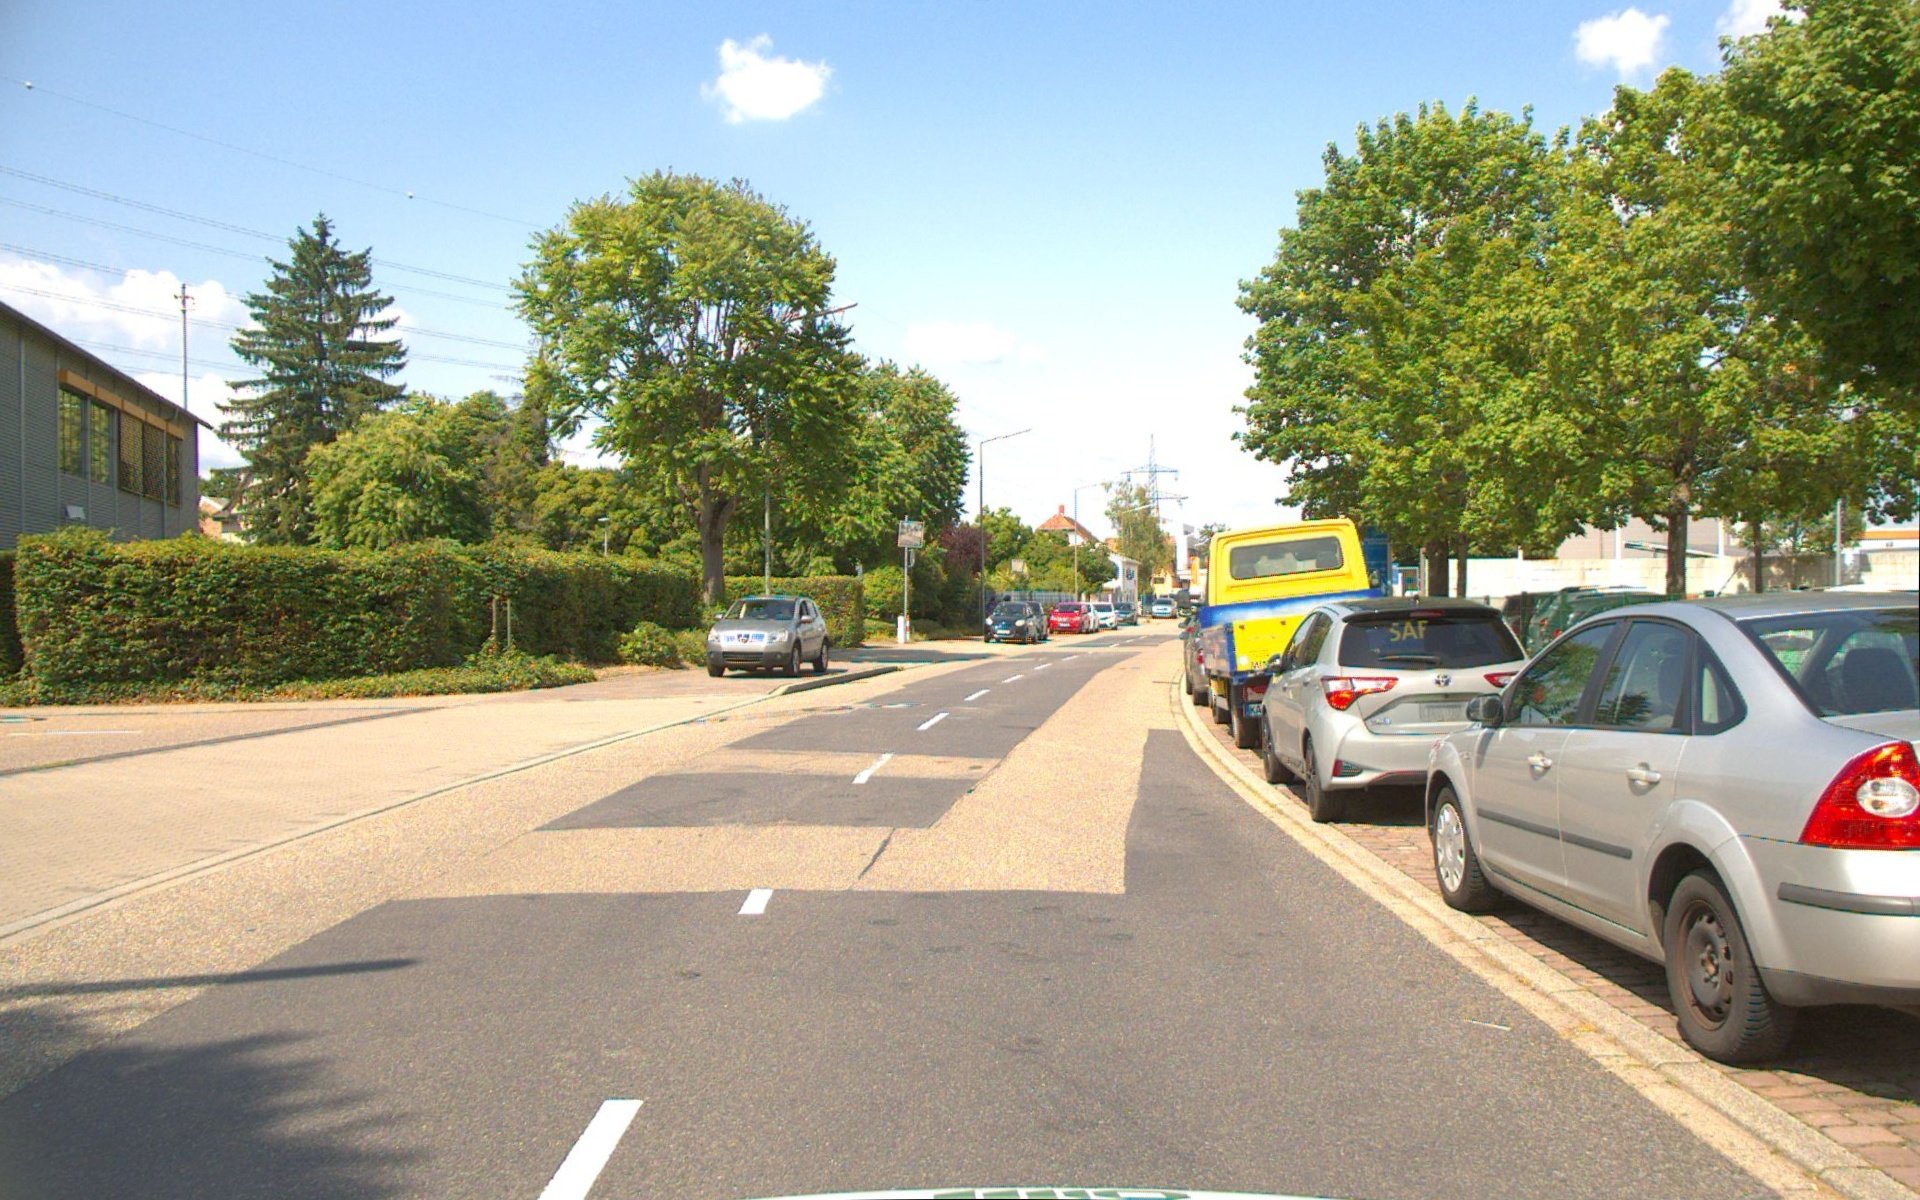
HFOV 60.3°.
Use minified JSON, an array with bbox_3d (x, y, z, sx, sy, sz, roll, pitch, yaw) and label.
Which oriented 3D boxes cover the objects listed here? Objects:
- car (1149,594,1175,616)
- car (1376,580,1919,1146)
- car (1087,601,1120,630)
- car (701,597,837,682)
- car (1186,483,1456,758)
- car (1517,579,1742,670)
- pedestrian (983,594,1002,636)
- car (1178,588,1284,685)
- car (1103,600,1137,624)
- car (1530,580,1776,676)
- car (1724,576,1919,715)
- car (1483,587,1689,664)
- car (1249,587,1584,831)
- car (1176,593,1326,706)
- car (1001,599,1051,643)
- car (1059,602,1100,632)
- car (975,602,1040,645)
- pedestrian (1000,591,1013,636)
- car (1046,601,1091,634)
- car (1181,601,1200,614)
[{"bbox_3d":[17.294,0.418,141.433,1.752,1.749,4.755,1,0,11],"label":"car"},{"bbox_3d":[3.289,0.707,6.869,1.795,1.518,4.654,-2,0,-1],"label":"car"},{"bbox_3d":[8.099,0.847,93.150,1.585,1.549,4.179,-1,0,8],"label":"car"},{"bbox_3d":[-3.801,0.765,33.687,1.720,1.601,4.480,0,-1,8],"label":"car"},{"bbox_3d":[3.829,0.225,18.813,2.111,2.508,6.643,-2,-1,5],"label":"car"},{"bbox_3d":[13.175,0.487,32.760,3.792,1.666,1.911,-1,-1,11],"label":"car"},{"bbox_3d":[1.440,0.652,72.656,0.693,1.832,0.916,-1,-1,11],"label":"pedestrian"},{"bbox_3d":[5.278,0.681,32.314,1.794,1.636,4.572,-4,-1,9],"label":"car"},{"bbox_3d":[10.153,0.757,104.845,1.766,1.443,4.500,1,0,10],"label":"car"},{"bbox_3d":[12.559,0.512,30.204,3.792,1.621,1.911,-1,-1,11],"label":"car"},{"bbox_3d":[12.349,0.514,21.239,4.229,1.649,1.763,-2,-1,-1],"label":"car"},{"bbox_3d":[14.311,0.590,38.034,4.119,1.621,1.911,-1,-1,11],"label":"car"},{"bbox_3d":[3.299,0.727,12.685,1.650,1.521,3.950,-2,-1,4],"label":"car"},{"bbox_3d":[4.483,0.732,26.163,1.836,1.502,5.171,-4,-1,5],"label":"car"},{"bbox_3d":[2.722,0.843,67.709,1.615,1.674,3.276,2,0,9],"label":"car"},{"bbox_3d":[6.115,0.873,84.223,1.610,1.503,4.032,-1,-1,10],"label":"car"},{"bbox_3d":[1.861,0.869,63.052,1.805,1.534,4.003,2,0,11],"label":"car"},{"bbox_3d":[2.049,0.596,72.621,0.441,1.927,0.678,-1,-1,11],"label":"pedestrian"},{"bbox_3d":[5.249,0.841,79.582,1.631,1.492,3.746,1,0,12],"label":"car"},{"bbox_3d":[25.504,0.840,183.026,1.758,1.422,4.505,1,0,12],"label":"car"}]
